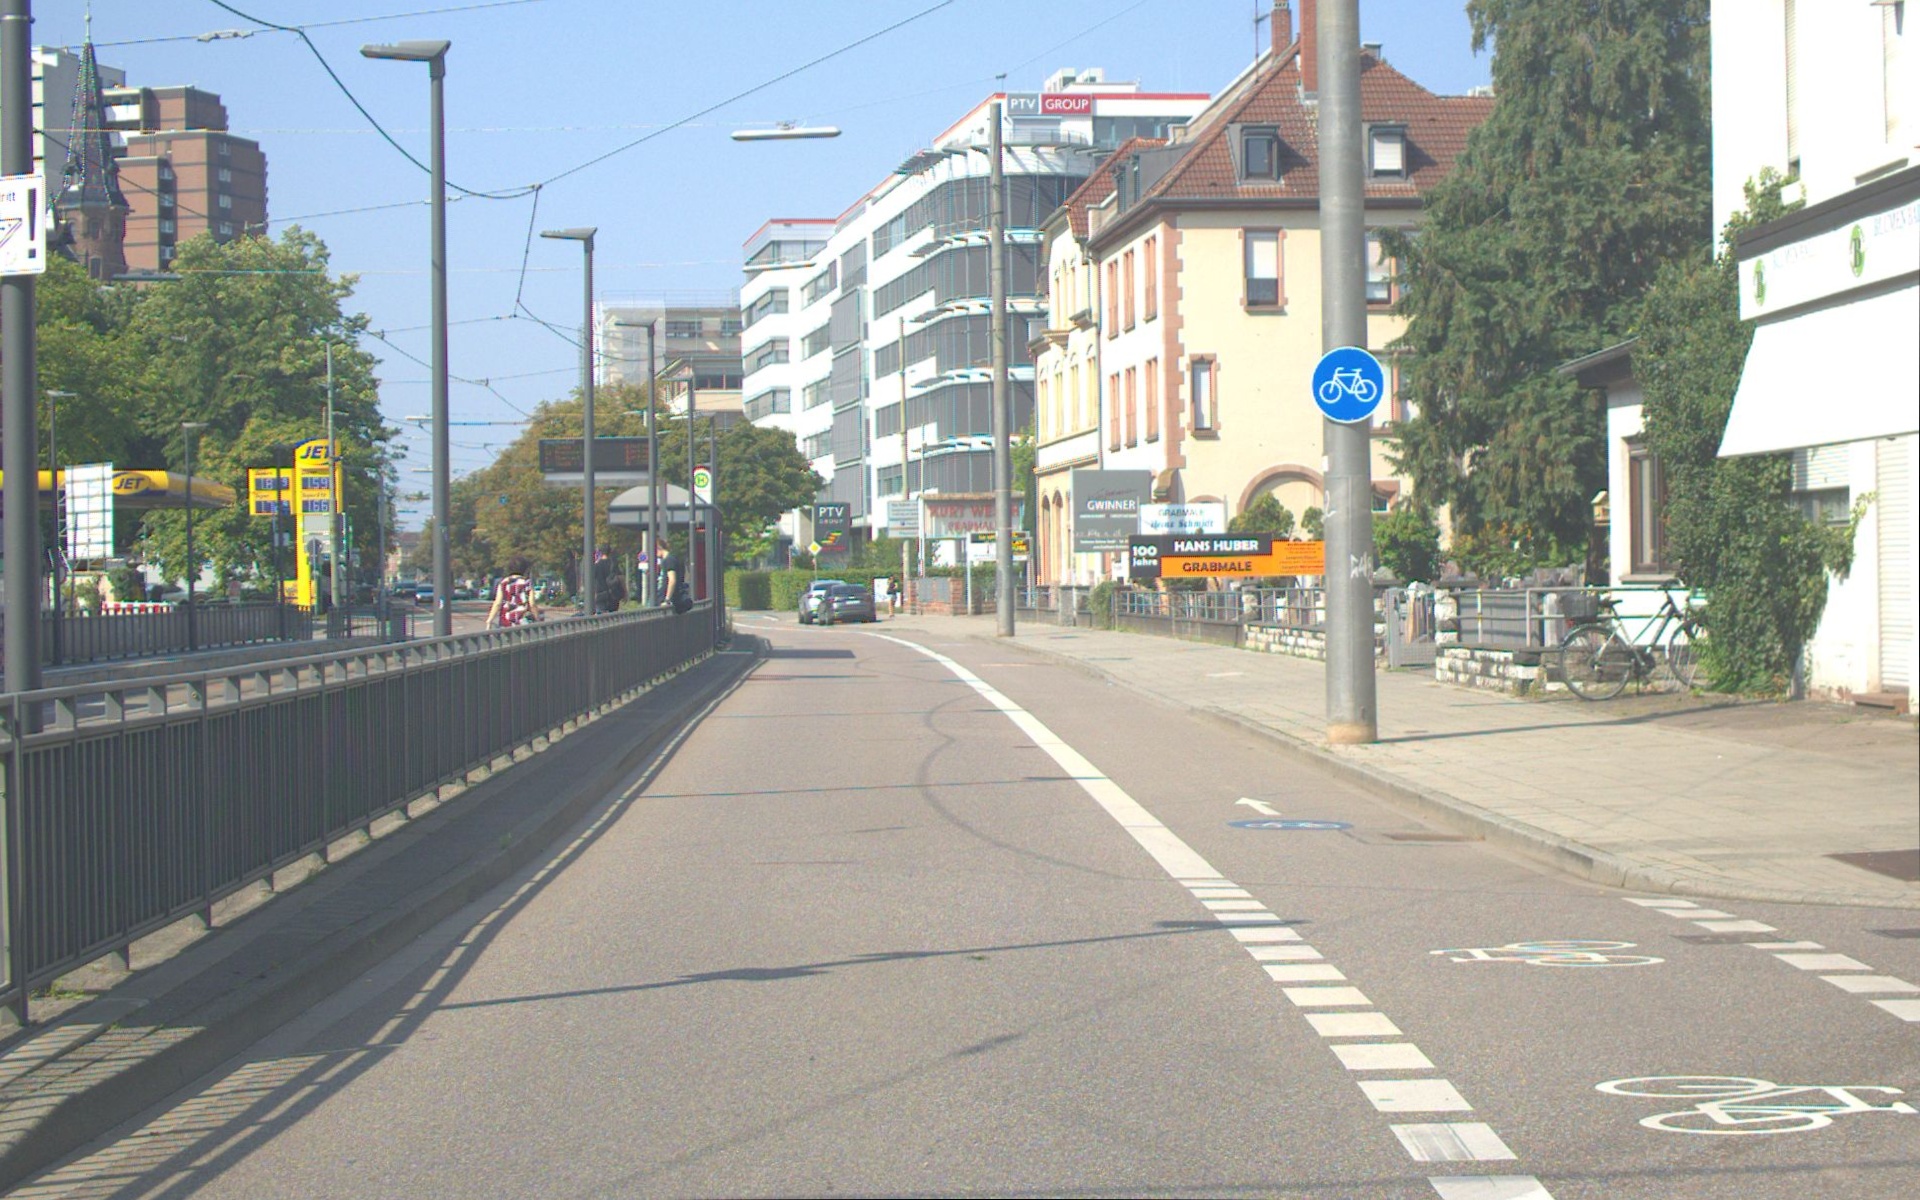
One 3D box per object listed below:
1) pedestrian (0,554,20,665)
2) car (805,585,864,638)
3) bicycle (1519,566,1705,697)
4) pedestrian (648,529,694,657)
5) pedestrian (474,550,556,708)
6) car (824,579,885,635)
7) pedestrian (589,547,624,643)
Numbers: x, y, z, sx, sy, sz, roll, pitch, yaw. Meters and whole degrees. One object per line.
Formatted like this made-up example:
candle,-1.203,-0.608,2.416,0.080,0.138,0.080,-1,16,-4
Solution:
pedestrian,-13.427,0.144,47.821,0.532,1.525,0.702,-3,0,-8
car,-4.657,0.427,128.416,2.011,1.852,4.000,-3,0,0
bicycle,6.096,0.282,32.320,0.731,1.129,2.840,-5,1,-9
pedestrian,-3.927,-0.094,46.786,0.536,1.697,0.582,-3,0,-4
pedestrian,-4.932,0.318,38.149,0.720,1.697,0.884,-3,0,-1
car,-3.741,0.226,122.267,2.011,1.852,4.000,-3,0,0
pedestrian,-6.371,-0.088,61.997,0.536,1.697,0.582,-3,0,-4
